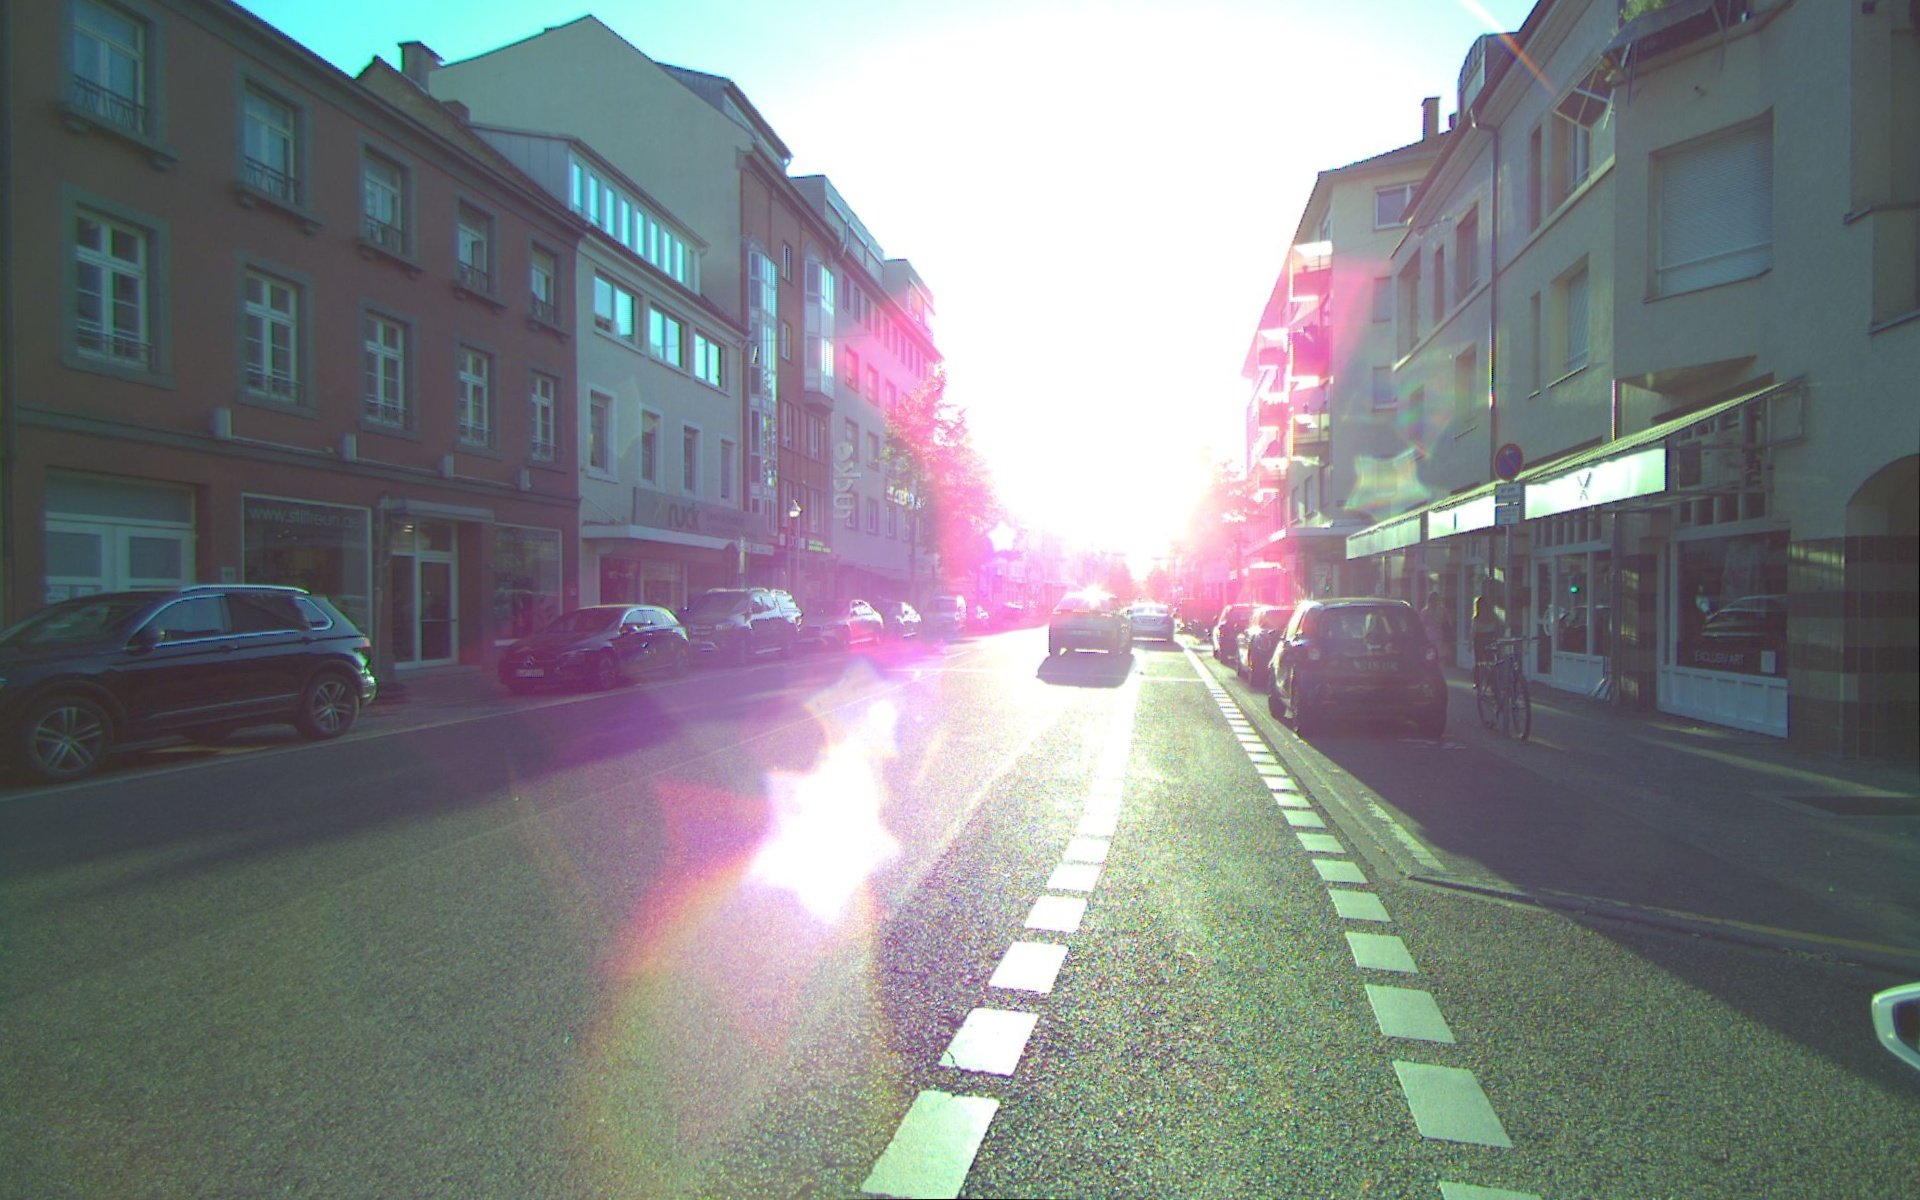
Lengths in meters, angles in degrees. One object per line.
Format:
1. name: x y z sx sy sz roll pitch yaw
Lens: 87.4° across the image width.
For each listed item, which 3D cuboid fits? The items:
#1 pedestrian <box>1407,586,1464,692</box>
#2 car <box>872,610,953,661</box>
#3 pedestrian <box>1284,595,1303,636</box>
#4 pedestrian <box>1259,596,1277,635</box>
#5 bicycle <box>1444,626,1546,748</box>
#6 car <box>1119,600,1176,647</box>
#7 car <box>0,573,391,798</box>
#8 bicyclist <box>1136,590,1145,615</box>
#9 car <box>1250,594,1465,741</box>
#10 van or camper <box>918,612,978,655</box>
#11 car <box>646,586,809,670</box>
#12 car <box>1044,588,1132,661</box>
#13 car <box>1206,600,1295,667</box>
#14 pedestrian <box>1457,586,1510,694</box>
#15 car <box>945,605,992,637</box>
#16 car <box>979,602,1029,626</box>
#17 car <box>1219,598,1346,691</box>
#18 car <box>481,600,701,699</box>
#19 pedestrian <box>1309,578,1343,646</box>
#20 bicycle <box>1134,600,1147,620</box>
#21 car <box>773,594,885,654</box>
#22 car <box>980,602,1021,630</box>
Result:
1. pedestrian: 7.982 0.638 16.900 0.619 1.723 1.041 0 0 10
2. car: -1.636 1.220 36.380 1.959 1.677 4.482 0 0 10
3. pedestrian: 15.040 0.704 45.280 0.706 1.815 0.667 -1 0 12
4. pedestrian: 14.230 0.706 46.386 0.706 1.815 0.667 -1 0 12
5. bicycle: 6.094 0.938 11.536 0.549 1.222 1.978 0 0 13
6. car: 7.120 0.851 38.275 1.959 1.626 4.407 1 0 10
7. car: -7.893 0.684 9.618 1.763 1.721 4.463 -2 0 10
8. bicyclist: 11.744 0.138 65.338 0.537 1.602 0.803 0 0 14
9. car: 4.921 0.730 13.001 1.758 1.601 3.969 0 0 9
10. van or camper: -0.498 1.478 46.027 1.757 1.797 4.560 0 0 13
11. car: -5.442 0.608 24.376 1.959 1.801 5.322 -1 0 9
12. car: 3.488 0.598 26.787 1.841 1.720 4.323 2 0 13
13. car: 7.471 0.793 26.106 1.758 1.601 3.789 0 0 9
14. pedestrian: 8.587 0.643 16.510 0.550 1.723 0.832 0 0 10
15. car: 0.463 1.049 51.822 1.661 1.523 3.789 0 0 13
16. car: 3.278 1.026 75.564 1.821 1.670 4.269 1 1 -27
17. car: 6.065 0.763 19.291 1.758 1.601 3.789 0 0 9
18. car: -6.439 0.794 18.113 1.656 1.508 4.413 -3 0 10
19. pedestrian: 9.539 0.310 26.220 0.706 1.757 0.738 -1 0 11
20. bicycle: 11.761 0.658 65.439 0.652 1.259 2.131 2 1 14
21. car: -3.902 0.694 30.818 1.959 1.677 4.630 -1 0 12
22. car: 2.322 0.894 56.750 1.661 1.523 3.789 0 0 13
